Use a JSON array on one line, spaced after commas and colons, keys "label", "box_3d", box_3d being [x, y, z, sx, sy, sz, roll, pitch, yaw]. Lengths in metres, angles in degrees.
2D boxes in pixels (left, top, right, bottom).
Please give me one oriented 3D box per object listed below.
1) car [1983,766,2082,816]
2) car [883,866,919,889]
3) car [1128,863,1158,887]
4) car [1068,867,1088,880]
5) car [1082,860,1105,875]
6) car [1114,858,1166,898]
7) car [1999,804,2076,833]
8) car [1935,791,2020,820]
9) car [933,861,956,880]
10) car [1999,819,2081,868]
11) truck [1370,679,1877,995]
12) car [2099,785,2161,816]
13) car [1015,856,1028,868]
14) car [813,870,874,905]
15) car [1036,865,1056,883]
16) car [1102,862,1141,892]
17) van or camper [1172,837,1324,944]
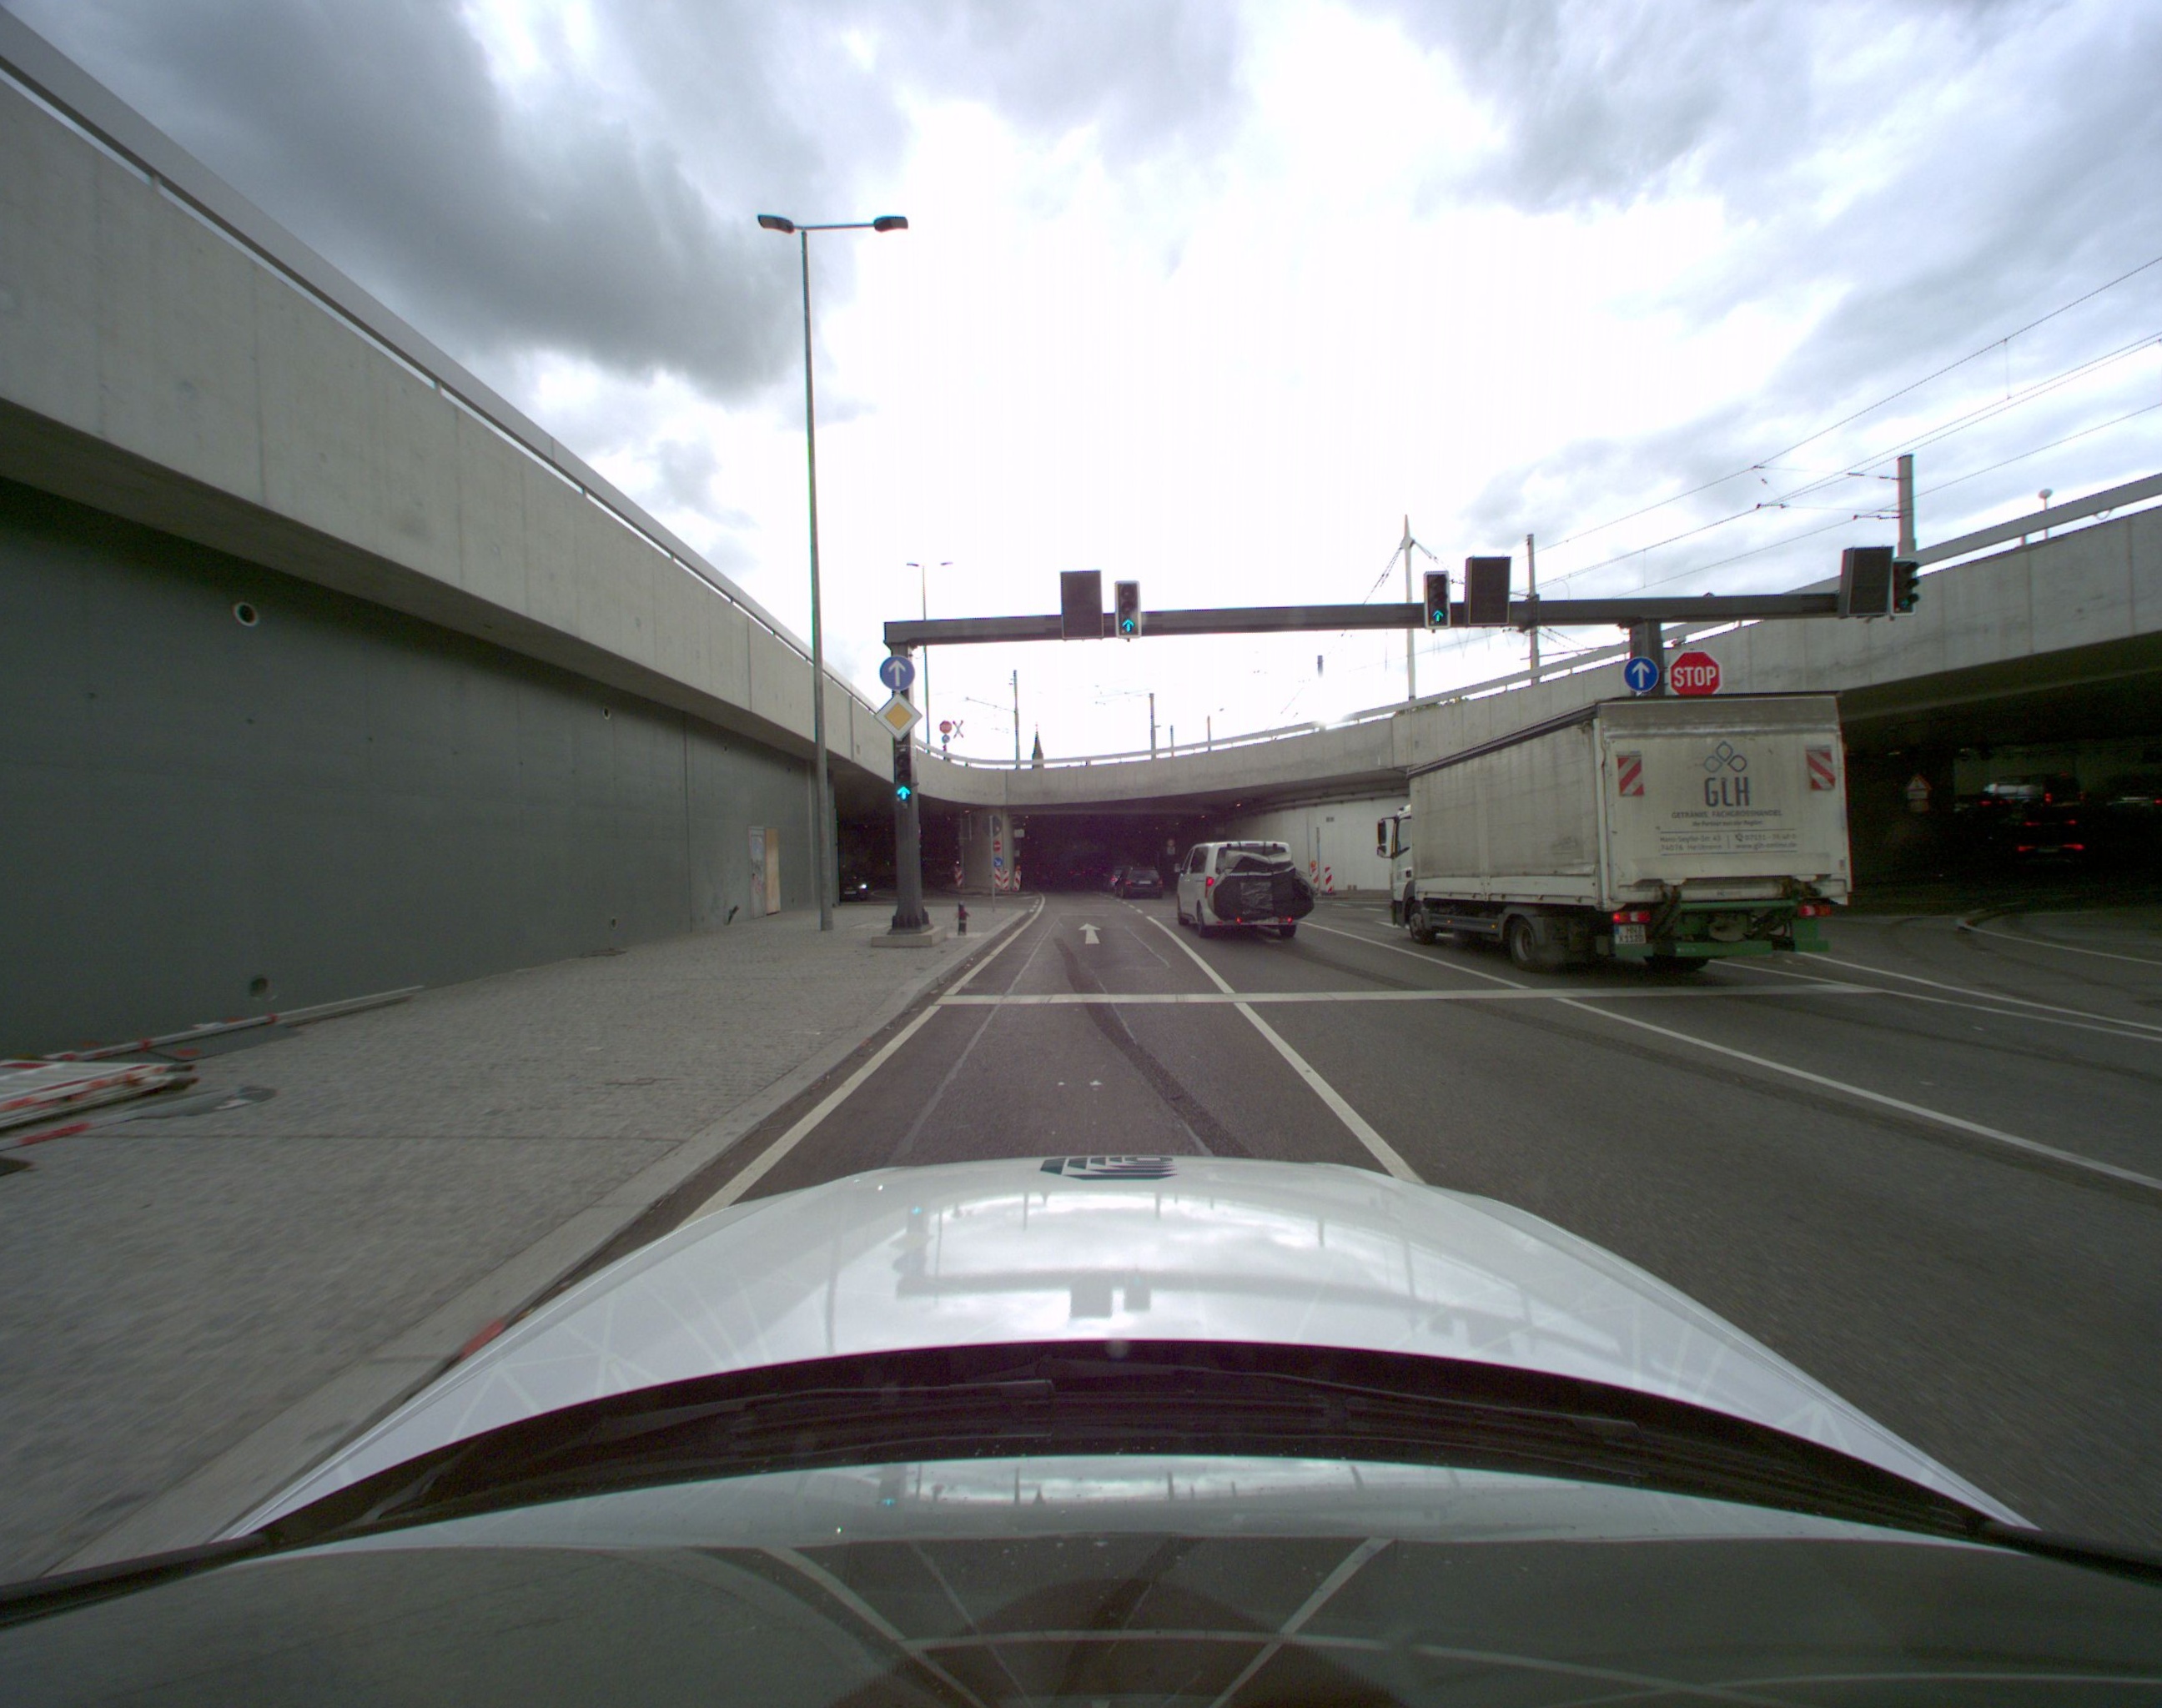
[{"label": "car", "box_3d": [63.690, -4.176, 54.645, 1.980, 2.919, 4.453, -2, 0, 13]}, {"label": "car", "box_3d": [-12.076, 1.547, 54.545, 1.671, 1.441, 4.083, -1, 0, -22]}, {"label": "car", "box_3d": [4.682, 1.571, 61.957, 1.657, 1.634, 3.560, 2, 0, -5]}, {"label": "car", "box_3d": [-0.325, 1.932, 82.311, 1.661, 1.247, 3.560, -1, -1, -5]}, {"label": "car", "box_3d": [1.396, 1.546, 93.546, 1.989, 1.676, 4.495, -1, -1, -8]}, {"label": "car", "box_3d": [2.571, 1.030, 36.316, 1.815, 1.684, 3.994, 0, -1, -4]}, {"label": "car", "box_3d": [49.965, -1.879, 42.624, 1.667, 1.333, 3.693, -2, 3, 34]}, {"label": "car", "box_3d": [60.163, -3.244, 54.752, 1.830, 1.657, 4.379, -1, 0, 17]}, {"label": "car", "box_3d": [-12.716, 1.489, 76.161, 1.806, 1.604, 4.778, -2, 1, -6]}, {"label": "car", "box_3d": [36.997, -0.438, 31.405, 4.020, 1.588, 1.812, -5, 2, -37]}, {"label": "truck", "box_3d": [6.900, -0.164, 12.093, 2.640, 3.185, 7.427, -1, 0, 1]}, {"label": "car", "box_3d": [60.765, -3.047, 46.060, 2.116, 1.628, 4.422, -2, 2, 23]}, {"label": "car", "box_3d": [-10.713, 1.384, 145.993, 1.992, 2.014, 3.989, -1, 0, -8]}, {"label": "car", "box_3d": [-11.036, 1.505, 37.635, 1.861, 1.443, 4.801, -1, -1, -27]}, {"label": "car", "box_3d": [-3.153, 1.767, 72.783, 1.657, 1.488, 3.560, -1, -1, -5]}, {"label": "car", "box_3d": [2.334, 1.314, 47.937, 1.815, 1.580, 3.994, 2, 0, -4]}, {"label": "van or camper", "box_3d": [3.194, 0.692, 16.799, 1.987, 1.845, 5.506, 0, -1, 0]}]
